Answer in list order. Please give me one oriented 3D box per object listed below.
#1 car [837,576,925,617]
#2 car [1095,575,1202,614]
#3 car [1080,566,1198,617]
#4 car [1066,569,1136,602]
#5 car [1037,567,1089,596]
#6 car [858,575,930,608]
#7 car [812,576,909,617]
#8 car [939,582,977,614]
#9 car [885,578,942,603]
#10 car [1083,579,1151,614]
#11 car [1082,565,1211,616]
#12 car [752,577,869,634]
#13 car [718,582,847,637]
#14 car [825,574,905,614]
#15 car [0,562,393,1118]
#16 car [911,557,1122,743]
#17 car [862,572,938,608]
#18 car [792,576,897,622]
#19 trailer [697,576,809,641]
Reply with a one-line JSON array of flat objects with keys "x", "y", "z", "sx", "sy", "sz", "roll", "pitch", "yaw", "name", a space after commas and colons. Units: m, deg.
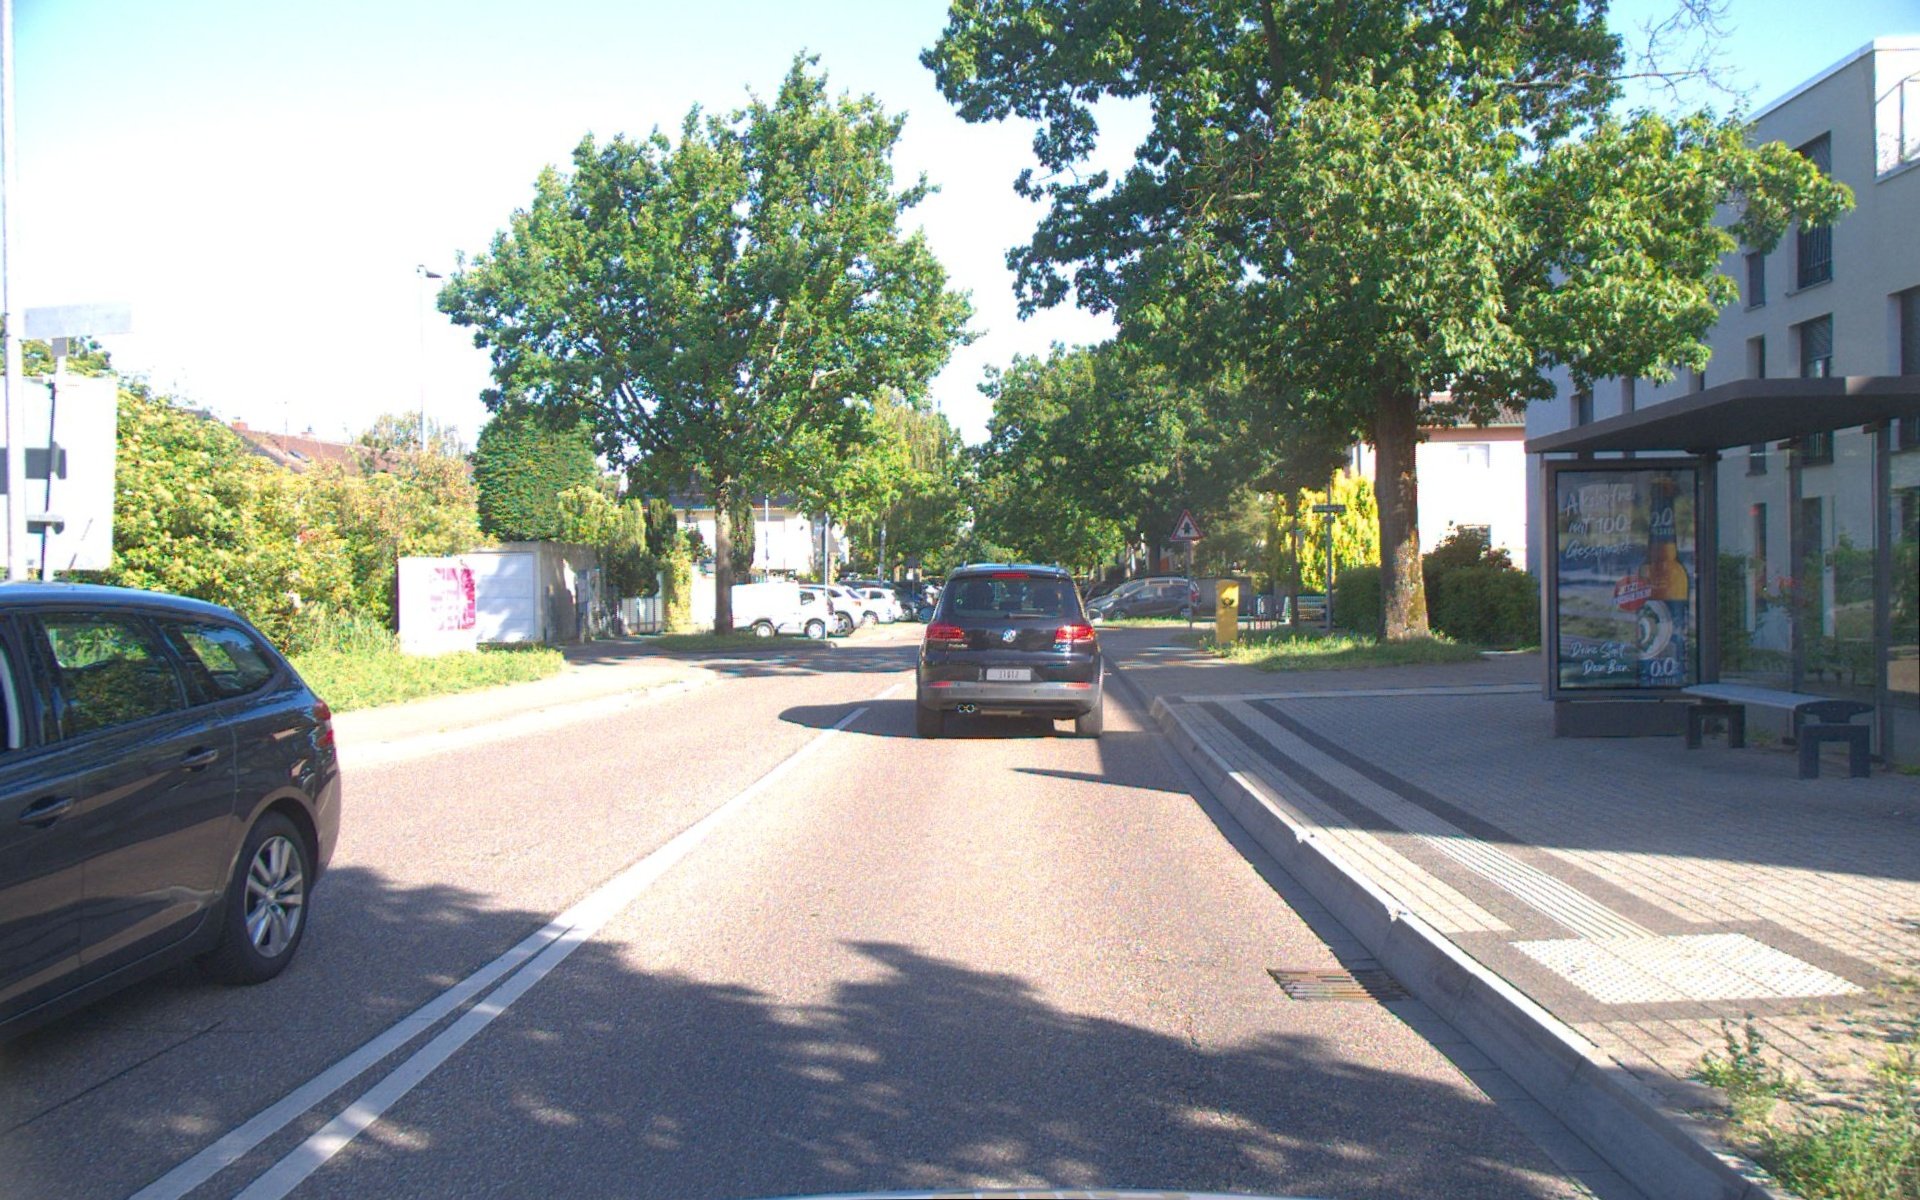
[{"x": -3.590, "y": -0.183, "z": 75.704, "sx": 3.907, "sy": 1.762, "sz": 1.999, "roll": -1, "pitch": 0, "yaw": -2, "name": "car"}, {"x": 7.174, "y": -0.210, "z": 63.292, "sx": 3.904, "sy": 1.392, "sz": 1.847, "roll": -1, "pitch": 0, "yaw": 2, "name": "car"}, {"x": 7.088, "y": -0.342, "z": 65.794, "sx": 4.537, "sy": 1.841, "sz": 1.824, "roll": -2, "pitch": 0, "yaw": 1, "name": "car"}, {"x": 8.014, "y": -0.838, "z": 94.402, "sx": 3.904, "sy": 1.806, "sz": 1.790, "roll": -1, "pitch": 1, "yaw": 2, "name": "car"}, {"x": 7.832, "y": -1.396, "z": 125.783, "sx": 3.904, "sy": 2.049, "sz": 2.000, "roll": -1, "pitch": -2, "yaw": 2, "name": "car"}, {"x": -3.673, "y": -0.484, "z": 92.813, "sx": 3.904, "sy": 1.750, "sz": 1.821, "roll": -1, "pitch": -1, "yaw": 1, "name": "car"}, {"x": -4.228, "y": -0.147, "z": 70.960, "sx": 3.903, "sy": 1.668, "sz": 2.001, "roll": -1, "pitch": 1, "yaw": 3, "name": "car"}, {"x": -0.070, "y": -0.121, "z": 88.661, "sx": 1.870, "sy": 1.582, "sz": 4.001, "roll": -3, "pitch": 1, "yaw": 1, "name": "car"}, {"x": -3.310, "y": -0.673, "z": 118.279, "sx": 3.910, "sy": 1.713, "sz": 1.921, "roll": -2, "pitch": 0, "yaw": -6, "name": "car"}, {"x": 7.366, "y": -0.169, "z": 77.648, "sx": 2.984, "sy": 1.534, "sz": 1.246, "roll": -1, "pitch": 0, "yaw": -4, "name": "car"}, {"x": 7.716, "y": -0.405, "z": 68.816, "sx": 5.150, "sy": 1.979, "sz": 2.001, "roll": -1, "pitch": 0, "yaw": 1, "name": "car"}, {"x": -4.572, "y": 0.142, "z": 50.813, "sx": 3.479, "sy": 1.641, "sz": 1.851, "roll": -1, "pitch": 0, "yaw": -4, "name": "car"}, {"x": -5.144, "y": 0.267, "z": 48.151, "sx": 3.475, "sy": 1.503, "sz": 1.809, "roll": -1, "pitch": 0, "yaw": 2, "name": "car"}, {"x": -4.768, "y": -0.296, "z": 83.204, "sx": 3.907, "sy": 1.868, "sz": 1.637, "roll": -1, "pitch": 0, "yaw": -2, "name": "car"}, {"x": -3.492, "y": 0.624, "z": 4.870, "sx": 1.952, "sy": 1.469, "sz": 4.452, "roll": 0, "pitch": 1, "yaw": 2, "name": "car"}, {"x": 0.452, "y": 0.428, "z": 17.312, "sx": 1.890, "sy": 1.683, "sz": 4.513, "roll": 0, "pitch": 1, "yaw": -2, "name": "car"}, {"x": -3.453, "y": -0.580, "z": 95.280, "sx": 4.302, "sy": 1.973, "sz": 1.578, "roll": -1, "pitch": -1, "yaw": -3, "name": "car"}, {"x": -4.549, "y": -0.040, "z": 65.627, "sx": 3.903, "sy": 1.699, "sz": 2.001, "roll": -1, "pitch": 1, "yaw": 3, "name": "car"}, {"x": -5.701, "y": 0.218, "z": 45.804, "sx": 2.907, "sy": 1.684, "sz": 1.396, "roll": -2, "pitch": 0, "yaw": -2, "name": "trailer"}]
